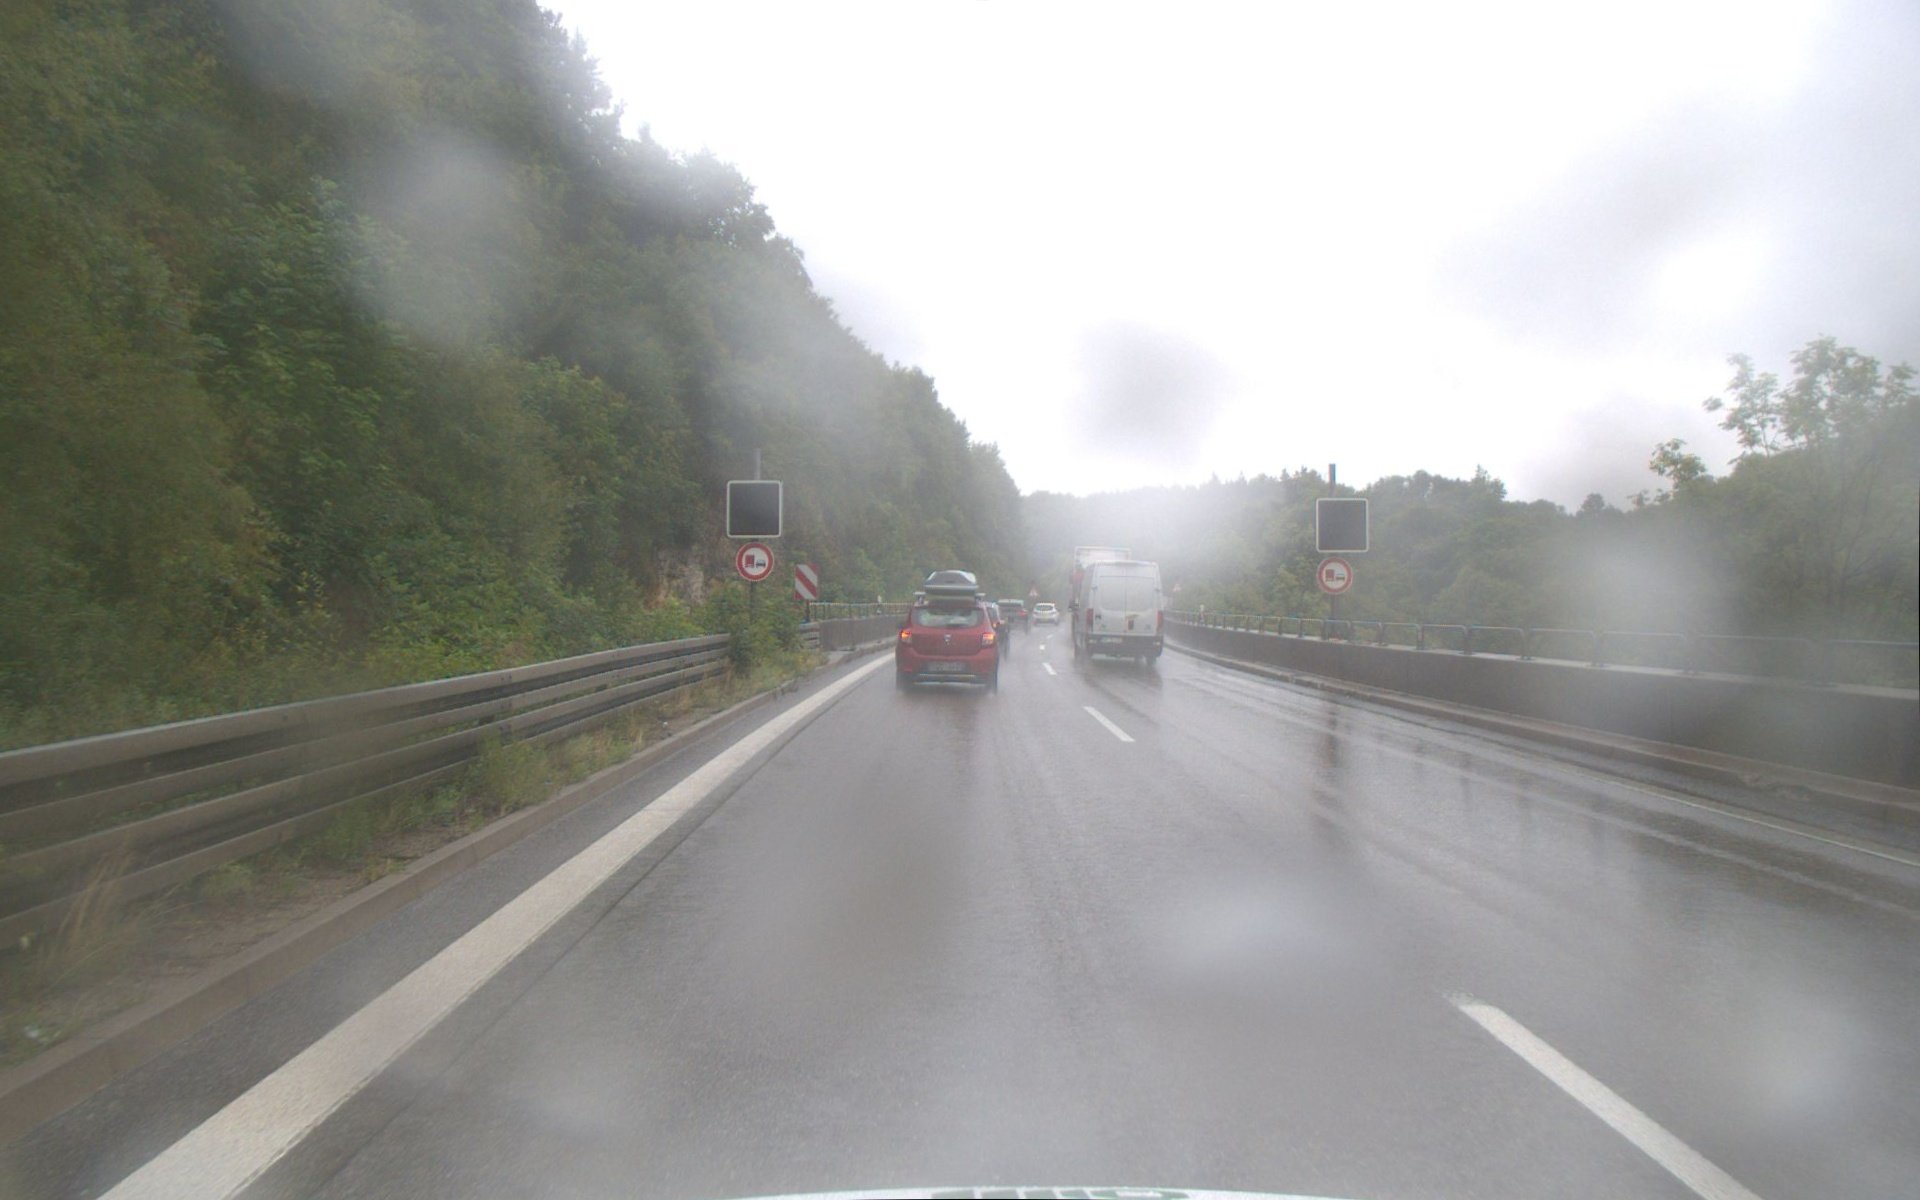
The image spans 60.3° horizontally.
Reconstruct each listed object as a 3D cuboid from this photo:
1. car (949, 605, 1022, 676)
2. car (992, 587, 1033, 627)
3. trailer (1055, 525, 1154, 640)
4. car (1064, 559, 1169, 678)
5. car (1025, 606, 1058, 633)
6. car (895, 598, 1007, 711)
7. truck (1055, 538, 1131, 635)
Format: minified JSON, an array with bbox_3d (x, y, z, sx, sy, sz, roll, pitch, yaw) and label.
[{"bbox_3d":[0.654,1.056,43.936,1.795,1.745,3.645,-2,-1,0],"label":"car"},{"bbox_3d":[2.523,0.341,78.238,1.835,1.736,3.890,-2,-1,2],"label":"car"},{"bbox_3d":[5.500,-0.603,65.210,3.151,4.069,13.526,0,0,2],"label":"trailer"},{"bbox_3d":[4.044,0.455,43.975,2.160,2.843,7.383,1,0,1],"label":"car"},{"bbox_3d":[5.438,1.279,109.738,1.951,1.668,4.002,-2,-1,5],"label":"car"},{"bbox_3d":[-0.164,0.886,28.288,1.722,1.714,3.999,-2,-1,-1],"label":"car"},{"bbox_3d":[5.760,-0.551,72.301,3.152,4.048,5.440,0,0,3],"label":"truck"}]
